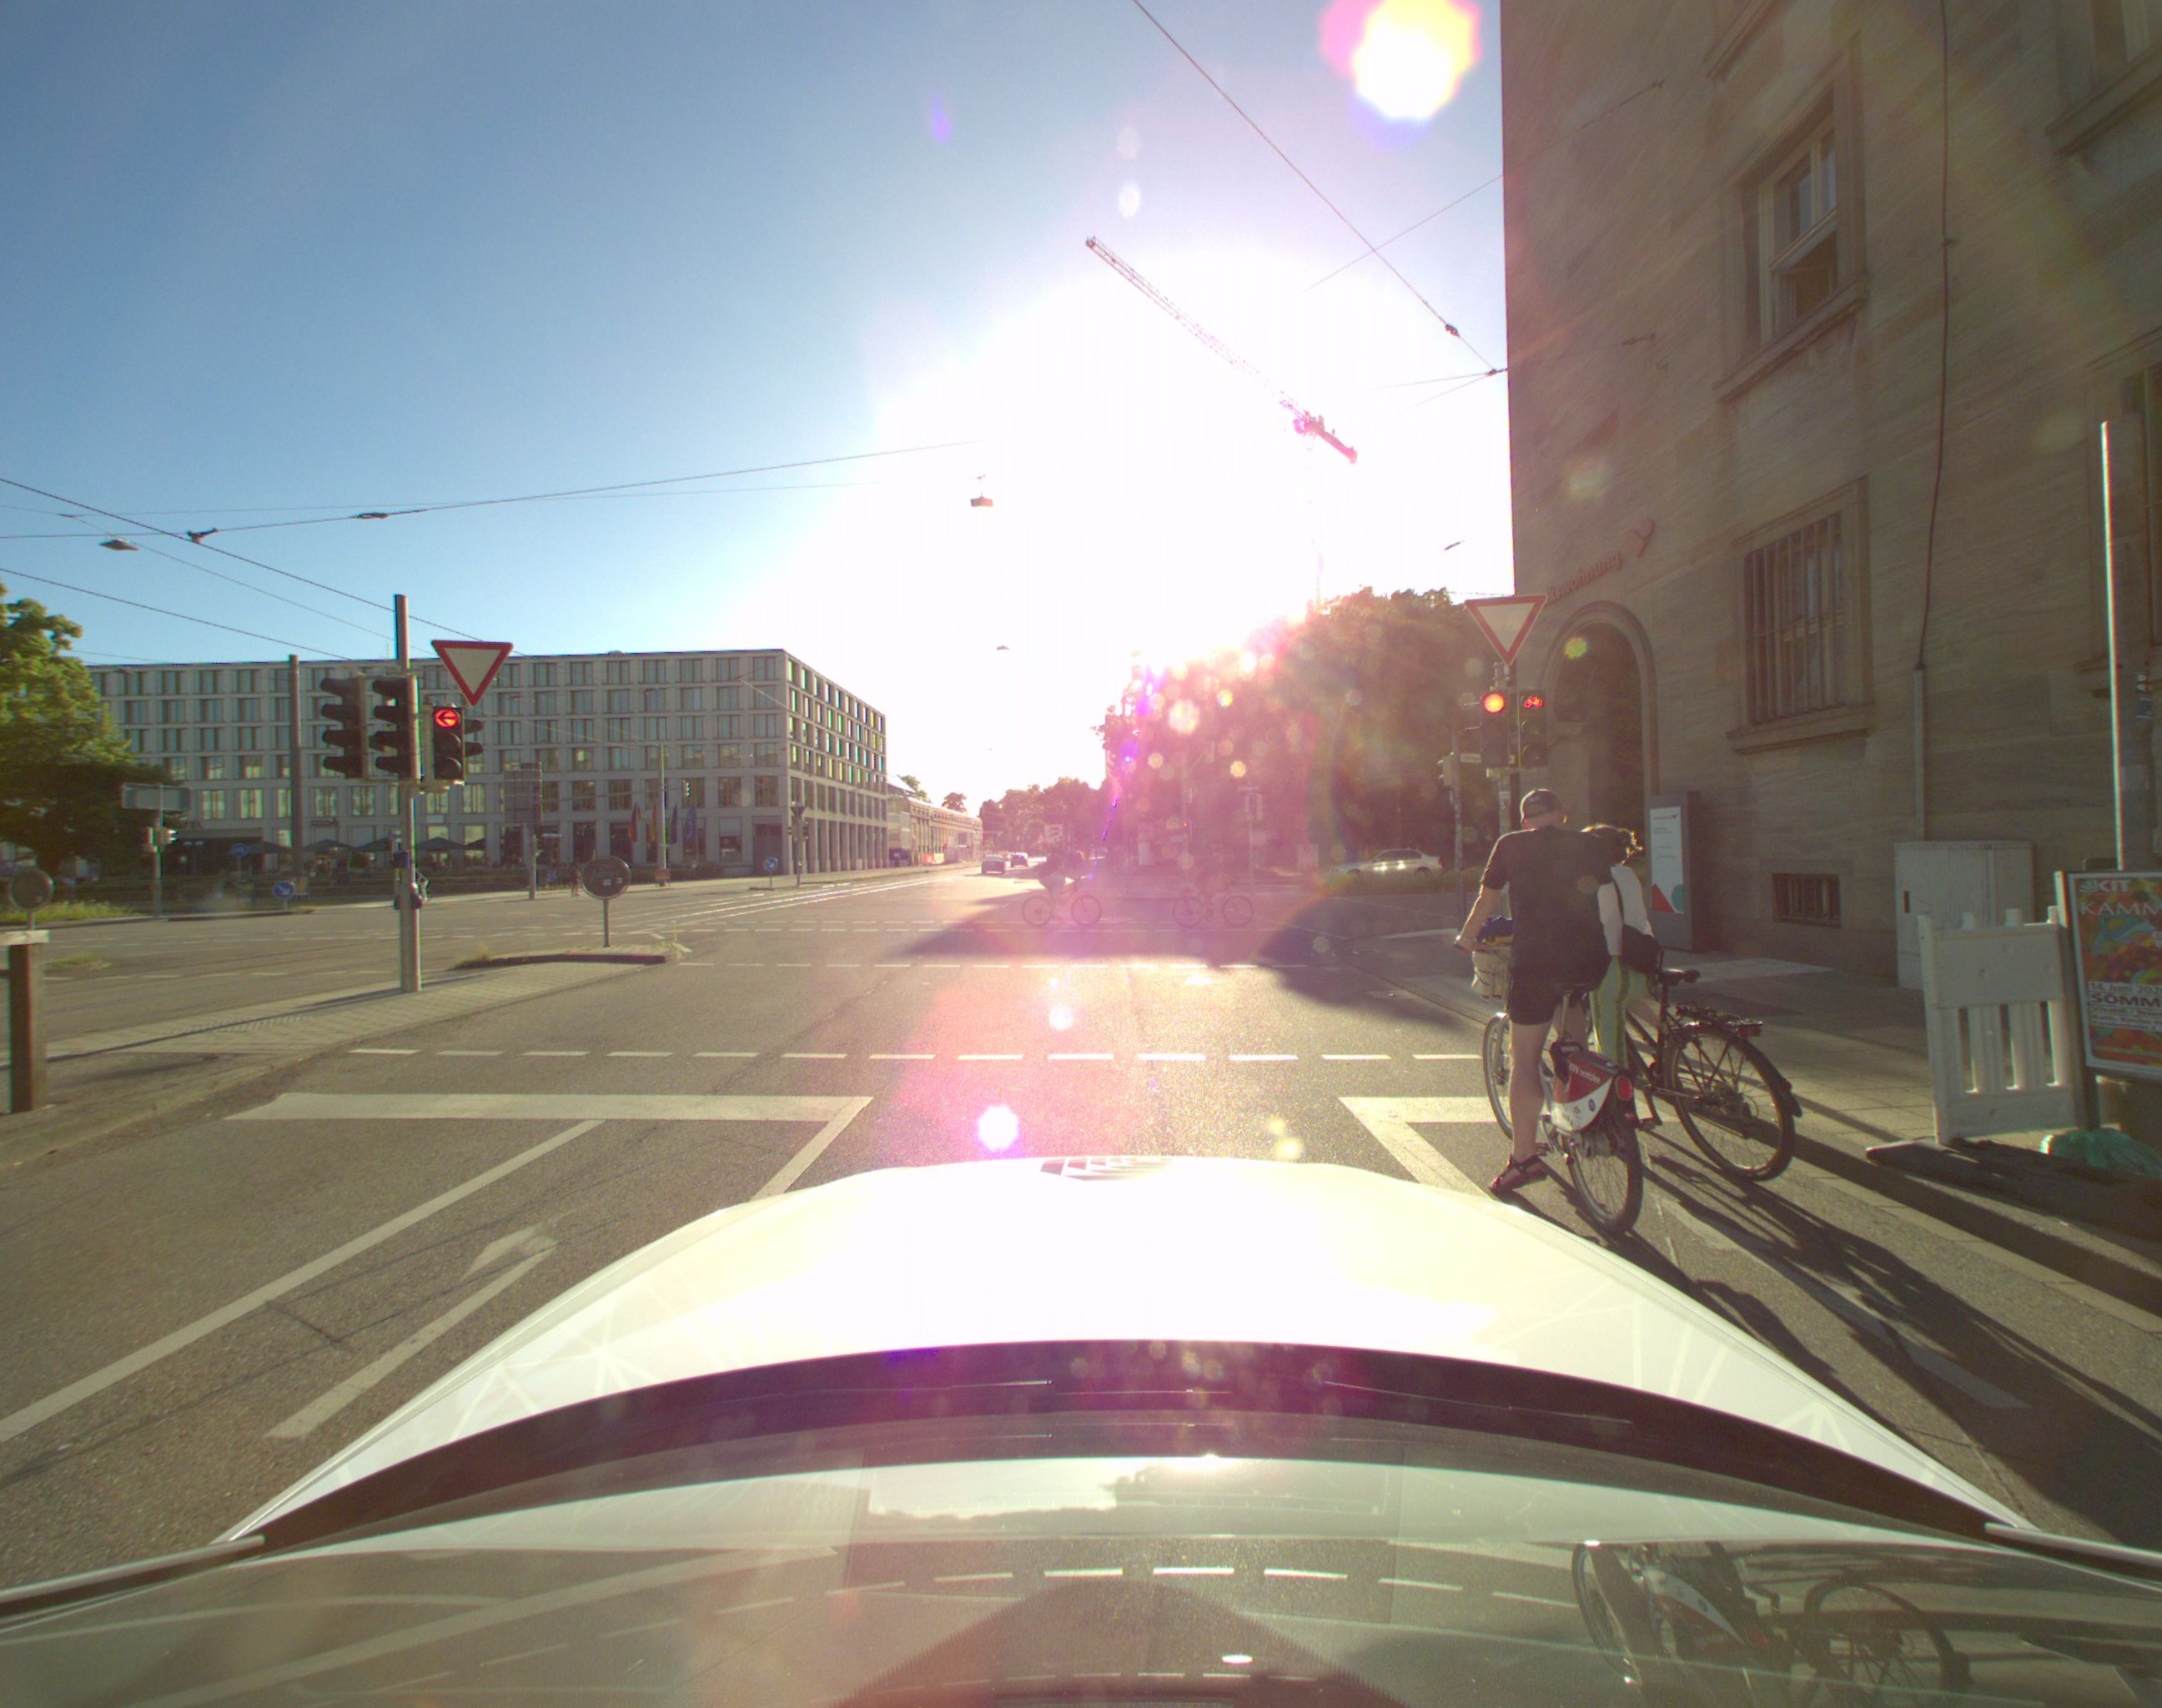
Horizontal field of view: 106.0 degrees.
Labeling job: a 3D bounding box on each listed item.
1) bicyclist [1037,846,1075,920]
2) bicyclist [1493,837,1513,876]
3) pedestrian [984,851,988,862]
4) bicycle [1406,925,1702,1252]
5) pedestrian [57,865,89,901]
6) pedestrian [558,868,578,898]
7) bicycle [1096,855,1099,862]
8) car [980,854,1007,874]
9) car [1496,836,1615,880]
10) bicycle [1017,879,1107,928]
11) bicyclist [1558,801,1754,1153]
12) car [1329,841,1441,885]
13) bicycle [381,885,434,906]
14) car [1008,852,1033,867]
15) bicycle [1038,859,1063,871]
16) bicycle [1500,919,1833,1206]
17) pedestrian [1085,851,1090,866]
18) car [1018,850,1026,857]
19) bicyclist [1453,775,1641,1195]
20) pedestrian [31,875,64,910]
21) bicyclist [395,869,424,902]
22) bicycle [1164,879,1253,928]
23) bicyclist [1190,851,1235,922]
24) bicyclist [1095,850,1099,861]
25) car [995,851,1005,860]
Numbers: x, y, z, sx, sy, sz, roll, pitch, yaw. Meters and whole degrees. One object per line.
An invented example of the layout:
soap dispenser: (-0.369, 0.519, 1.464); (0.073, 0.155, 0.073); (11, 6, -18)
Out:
bicyclist: (-0.534, 0.613, 17.422); (0.761, 1.524, 0.606); (-2, 0, -3)
bicyclist: (18.673, 0.115, 36.045); (0.640, 1.683, 0.508); (-2, 0, 7)
pedestrian: (-18.324, 0.485, 157.596); (0.672, 2.014, 0.751); (0, -1, -1)
bicycle: (2.126, 0.958, 3.934); (0.513, 1.077, 1.729); (-1, 0, 4)
pedestrian: (-56.832, 1.645, 45.935); (0.837, 2.014, 0.827); (-1, -1, 11)
pedestrian: (-28.682, 1.621, 45.537); (0.775, 1.589, 0.589); (-2, 0, -8)
bicycle: (2.673, 0.733, 132.064); (0.573, 1.077, 1.831); (-2, 0, 1)
car: (-6.863, 0.762, 64.298); (1.655, 1.455, 4.430); (-1, 0, -1)
car: (19.166, 0.153, 32.975); (3.835, 1.611, 1.650); (-2, 0, 1)
bicycle: (-0.410, 1.047, 17.403); (1.853, 0.935, 0.559); (-2, 0, -4)
bicyclist: (2.959, 0.592, 4.244); (0.556, 1.691, 0.640); (-1, 0, 0)
car: (12.354, 0.352, 33.253); (3.979, 1.611, 1.650); (-2, 0, 1)
bicycle: (-32.756, 2.012, 39.640); (0.755, 0.935, 1.870); (-2, 0, 12)
car: (-6.632, 0.569, 89.747); (1.882, 1.565, 4.815); (1, 0, 6)
bicycle: (-2.562, 0.905, 67.702); (1.996, 0.891, 0.655); (-4, -1, 29)
bicycle: (2.948, 0.959, 4.351); (0.532, 1.077, 1.751); (-1, 0, 1)
pedestrian: (0.761, 0.500, 97.885); (0.462, 1.813, 0.502); (-2, 0, -3)
car: (-14.221, -0.121, 195.321); (1.688, 1.718, 4.245); (0, -1, -1)
bicyclist: (2.128, 0.561, 3.777); (0.556, 1.799, 0.551); (-1, 0, 3)
pedestrian: (-57.010, 2.106, 44.913); (0.711, 1.900, 0.877); (-1, -1, 11)
bicyclist: (-32.743, 1.533, 39.713); (0.754, 1.589, 0.780); (-2, -1, 12)
bicycle: (2.672, 1.024, 17.154); (1.739, 0.935, 0.645); (-2, 0, -3)
bicyclist: (2.764, 0.677, 17.155); (0.796, 1.450, 0.617); (-1, 0, -3)
bicyclist: (2.654, 0.282, 132.056); (0.567, 1.691, 0.700); (-2, 0, 1)
car: (-15.652, 0.262, 157.071); (1.688, 1.718, 4.245); (0, -1, -1)
